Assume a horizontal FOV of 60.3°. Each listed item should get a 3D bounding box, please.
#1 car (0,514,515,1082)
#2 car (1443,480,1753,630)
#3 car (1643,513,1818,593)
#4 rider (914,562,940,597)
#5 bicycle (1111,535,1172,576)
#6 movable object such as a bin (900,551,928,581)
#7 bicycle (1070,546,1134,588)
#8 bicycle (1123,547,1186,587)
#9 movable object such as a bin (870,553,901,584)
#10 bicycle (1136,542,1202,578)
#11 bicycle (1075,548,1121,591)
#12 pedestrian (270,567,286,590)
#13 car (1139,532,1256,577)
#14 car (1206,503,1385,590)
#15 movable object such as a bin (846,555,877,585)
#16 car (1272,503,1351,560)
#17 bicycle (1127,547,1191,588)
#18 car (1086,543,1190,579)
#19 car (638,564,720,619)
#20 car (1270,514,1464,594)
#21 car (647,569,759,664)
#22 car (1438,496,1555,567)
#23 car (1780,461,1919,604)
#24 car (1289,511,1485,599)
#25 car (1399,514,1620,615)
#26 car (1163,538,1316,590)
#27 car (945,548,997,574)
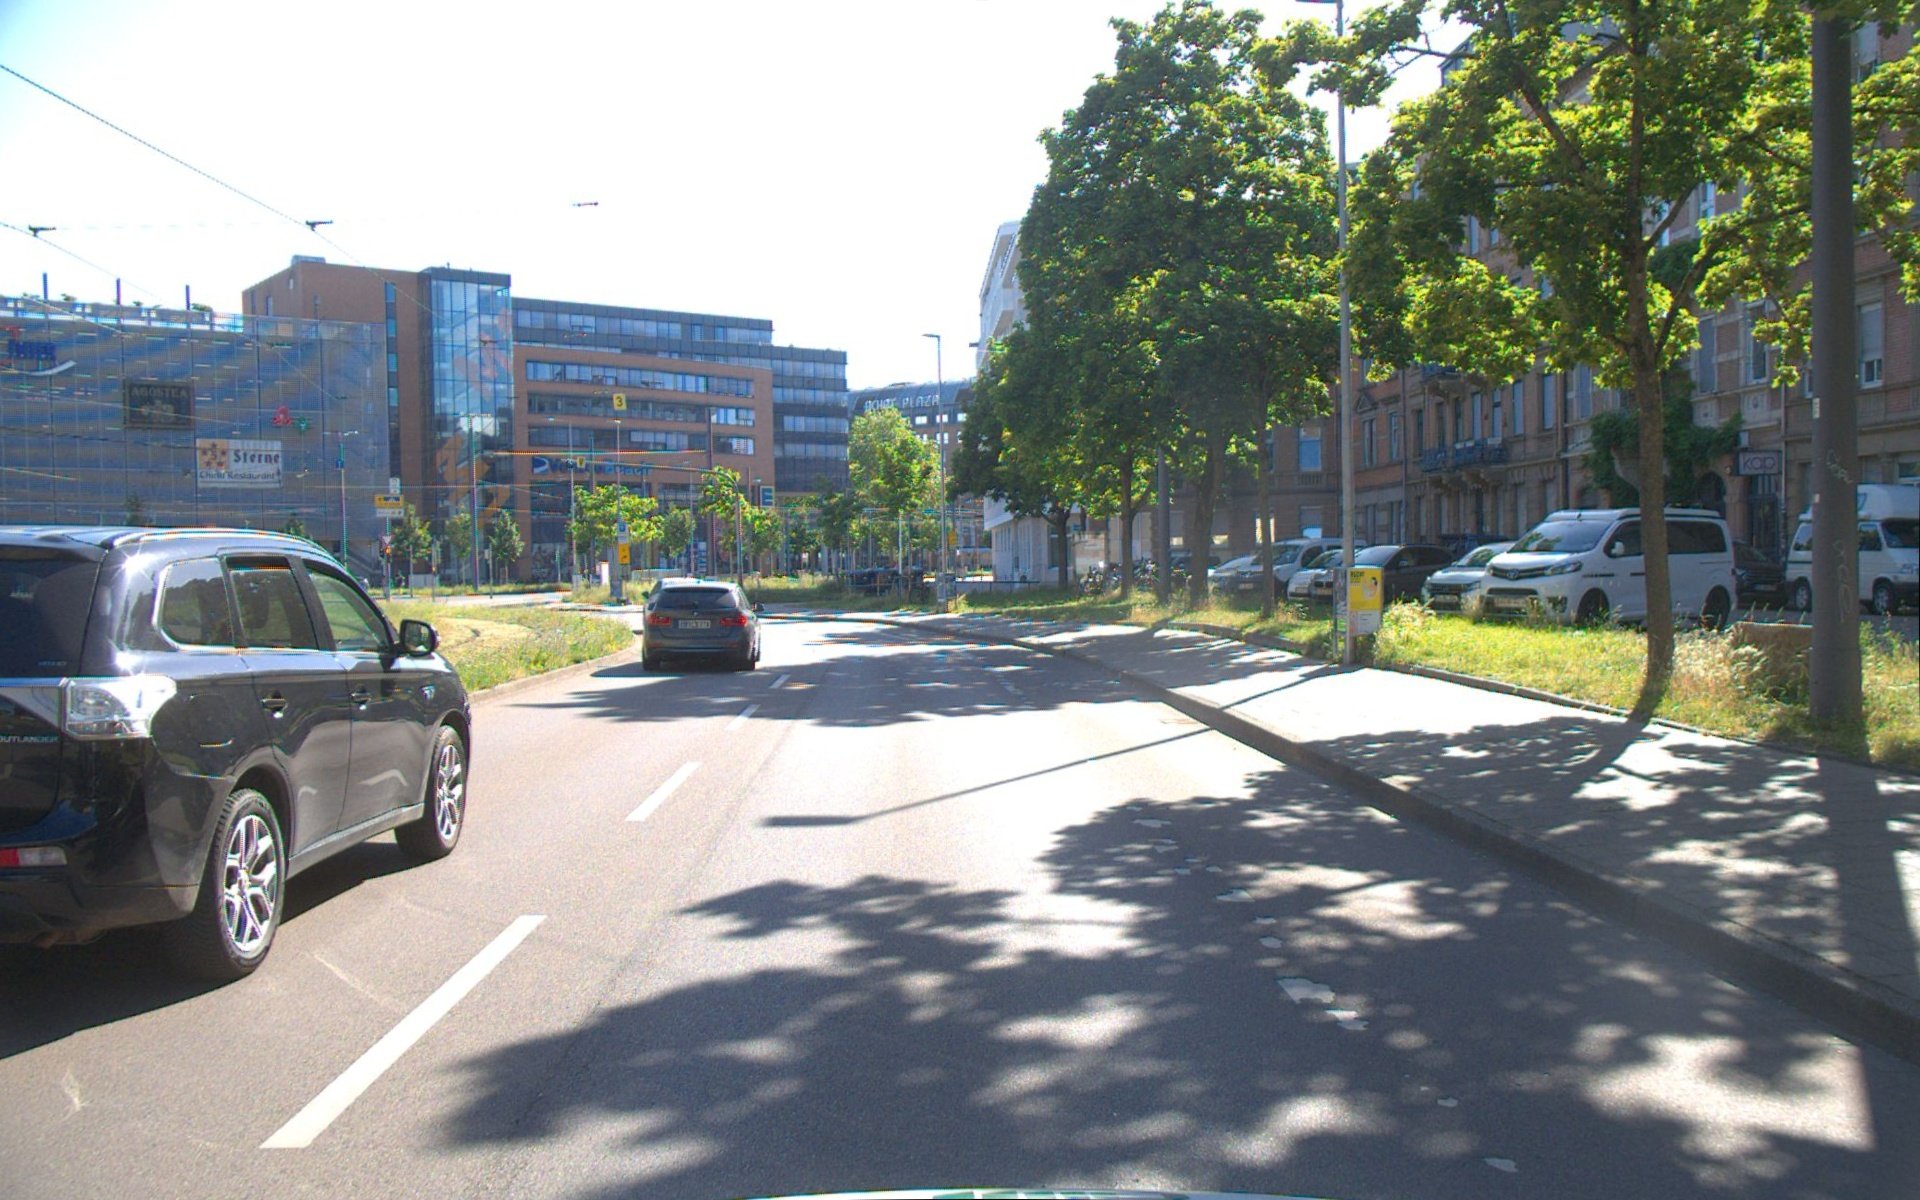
[{"bbox_3d":[-3.468,0.563,7.295,1.799,1.711,4.642,-1,1,-1],"label":"car"},{"bbox_3d":[10.557,-0.766,27.231,5.123,2.047,2.078,-5,2,-32],"label":"car"},{"bbox_3d":[18.241,-1.130,39.418,1.953,1.720,4.512,-2,2,-2],"label":"car"},{"bbox_3d":[-1.219,-0.761,61.506,0.491,1.196,1.678,-2,3,15],"label":"rider"},{"bbox_3d":[6.616,-1.625,60.412,2.058,1.422,0.784,-2,1,-14],"label":"bicycle"},{"bbox_3d":[-2.227,-1.646,80.355,1.007,1.422,1.091,-2,2,17],"label":"movable object such as a bin"},{"bbox_3d":[4.913,-1.138,57.140,2.054,1.388,0.786,-2,1,-8],"label":"bicycle"},{"bbox_3d":[6.529,-1.106,55.561,1.919,1.212,0.841,-4,2,-3],"label":"bicycle"},{"bbox_3d":[-3.602,-1.528,80.314,1.084,1.422,1.322,-2,2,17],"label":"movable object such as a bin"},{"bbox_3d":[7.345,-1.394,58.119,2.121,1.178,0.821,-2,1,-7],"label":"bicycle"},{"bbox_3d":[4.573,-1.026,54.673,0.755,1.312,1.592,-1,3,37],"label":"bicycle"},{"bbox_3d":[-52.322,-1.664,126.866,0.740,1.768,0.851,-1,2,43],"label":"pedestrian"},{"bbox_3d":[9.387,-1.790,65.214,4.418,1.592,1.915,-3,2,-34],"label":"car"},{"bbox_3d":[9.275,-1.489,45.571,4.830,2.047,2.073,-6,2,-37],"label":"car"},{"bbox_3d":[-4.761,-1.457,80.200,1.046,1.422,1.305,-2,2,17],"label":"movable object such as a bin"},{"bbox_3d":[16.048,-3.148,75.798,2.302,2.397,5.187,-4,3,-2],"label":"car"},{"bbox_3d":[6.566,-1.077,54.636,1.906,1.201,0.899,-4,1,-3],"label":"bicycle"},{"bbox_3d":[7.498,-1.637,69.572,3.995,1.360,1.824,-3,2,-26],"label":"car"},{"bbox_3d":[-7.721,-0.220,45.255,1.608,1.448,3.760,0,0,-19],"label":"car"},{"bbox_3d":[10.529,-1.197,42.670,4.820,1.676,2.078,-5,2,-32],"label":"car"},{"bbox_3d":[-4.235,0.259,27.650,1.701,1.448,4.460,0,0,-7],"label":"car"},{"bbox_3d":[17.001,-2.190,52.695,1.954,2.011,4.723,-4,3,-2],"label":"car"},{"bbox_3d":[18.459,-1.397,32.854,1.953,2.629,4.513,-4,3,-1],"label":"car"},{"bbox_3d":[10.201,-1.088,39.444,4.457,1.757,1.978,-5,2,-32],"label":"car"},{"bbox_3d":[9.974,-0.657,29.925,3.988,1.504,1.790,-6,2,-36],"label":"car"},{"bbox_3d":[8.711,-1.137,51.397,4.701,1.404,2.020,-4,2,-37],"label":"car"},{"bbox_3d":[0.958,-3.225,136.791,3.902,2.048,2.002,-2,1,13],"label":"car"}]
